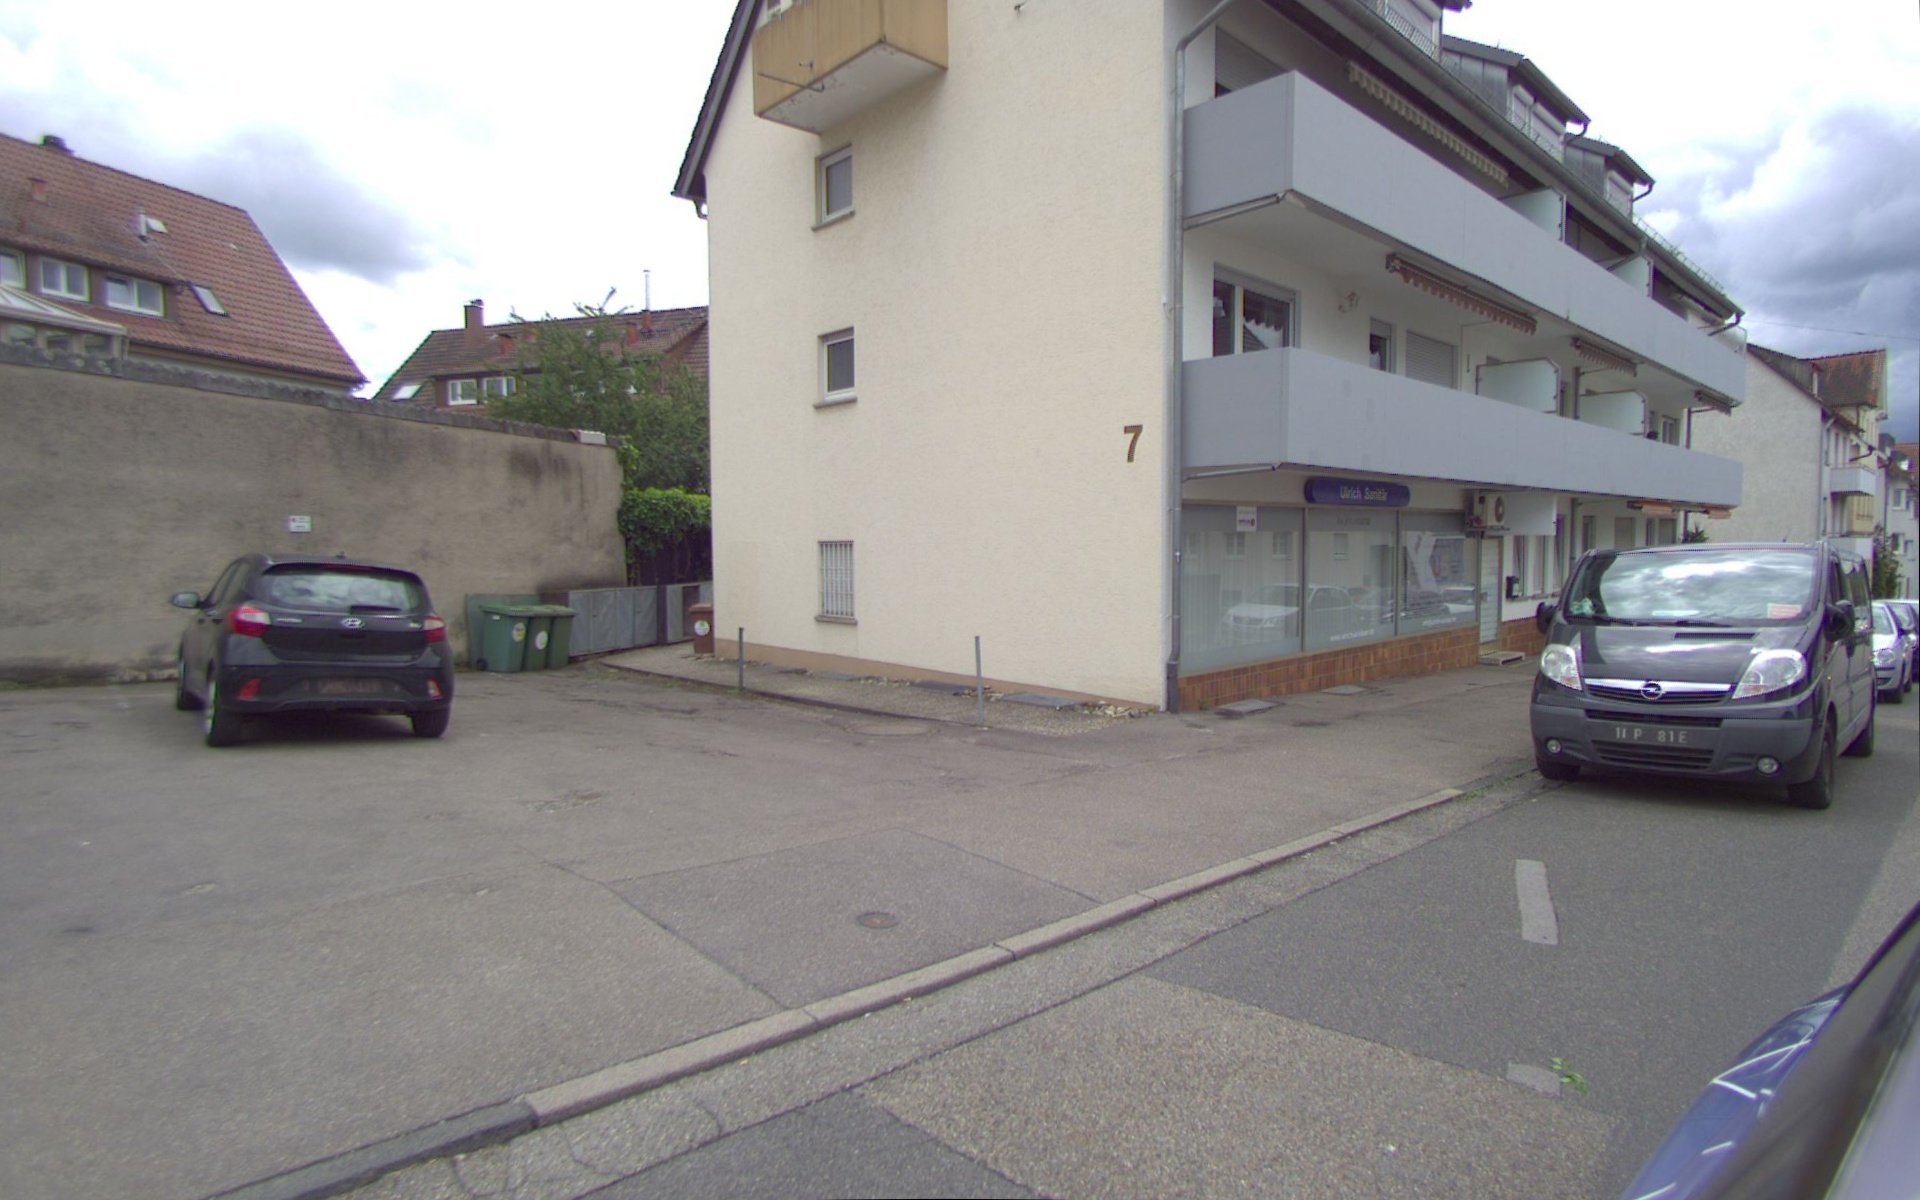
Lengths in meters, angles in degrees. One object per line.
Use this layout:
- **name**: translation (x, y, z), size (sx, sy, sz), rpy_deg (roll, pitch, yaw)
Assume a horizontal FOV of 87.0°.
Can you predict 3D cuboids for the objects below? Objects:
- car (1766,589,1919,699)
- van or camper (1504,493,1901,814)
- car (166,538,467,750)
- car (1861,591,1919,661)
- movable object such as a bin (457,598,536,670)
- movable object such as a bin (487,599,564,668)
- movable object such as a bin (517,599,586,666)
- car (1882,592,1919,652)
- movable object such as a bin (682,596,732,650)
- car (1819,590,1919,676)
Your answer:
- **car**: translation (13.944, 0.572, 15.749), size (4.262, 1.473, 1.610), rpy_deg (-1, 1, -43)
- **van or camper**: translation (6.720, 0.331, 8.895), size (4.980, 2.039, 1.995), rpy_deg (0, 0, -44)
- **car**: translation (-5.816, 0.311, 9.004), size (1.697, 1.506, 3.317), rpy_deg (0, 0, -43)
- **car**: translation (21.603, 0.539, 22.871), size (3.258, 1.473, 1.610), rpy_deg (-1, 1, -44)
- **movable object such as a bin**: translation (-7.510, 0.560, 16.412), size (0.925, 1.119, 0.639), rpy_deg (1, -4, 18)
- **movable object such as a bin**: translation (-7.306, 0.562, 17.044), size (0.925, 1.119, 0.674), rpy_deg (1, -4, 18)
- **movable object such as a bin**: translation (-7.113, 0.565, 17.643), size (0.925, 1.119, 0.576), rpy_deg (1, -4, 18)
- **car**: translation (24.658, 0.527, 25.722), size (3.538, 1.423, 1.582), rpy_deg (-1, 1, -44)
- **movable object such as a bin**: translation (-4.773, 0.422, 19.079), size (0.648, 0.951, 0.575), rpy_deg (0, 6, 28)
- **car**: translation (17.654, 0.560, 19.266), size (3.795, 1.473, 1.610), rpy_deg (-1, 1, -44)
